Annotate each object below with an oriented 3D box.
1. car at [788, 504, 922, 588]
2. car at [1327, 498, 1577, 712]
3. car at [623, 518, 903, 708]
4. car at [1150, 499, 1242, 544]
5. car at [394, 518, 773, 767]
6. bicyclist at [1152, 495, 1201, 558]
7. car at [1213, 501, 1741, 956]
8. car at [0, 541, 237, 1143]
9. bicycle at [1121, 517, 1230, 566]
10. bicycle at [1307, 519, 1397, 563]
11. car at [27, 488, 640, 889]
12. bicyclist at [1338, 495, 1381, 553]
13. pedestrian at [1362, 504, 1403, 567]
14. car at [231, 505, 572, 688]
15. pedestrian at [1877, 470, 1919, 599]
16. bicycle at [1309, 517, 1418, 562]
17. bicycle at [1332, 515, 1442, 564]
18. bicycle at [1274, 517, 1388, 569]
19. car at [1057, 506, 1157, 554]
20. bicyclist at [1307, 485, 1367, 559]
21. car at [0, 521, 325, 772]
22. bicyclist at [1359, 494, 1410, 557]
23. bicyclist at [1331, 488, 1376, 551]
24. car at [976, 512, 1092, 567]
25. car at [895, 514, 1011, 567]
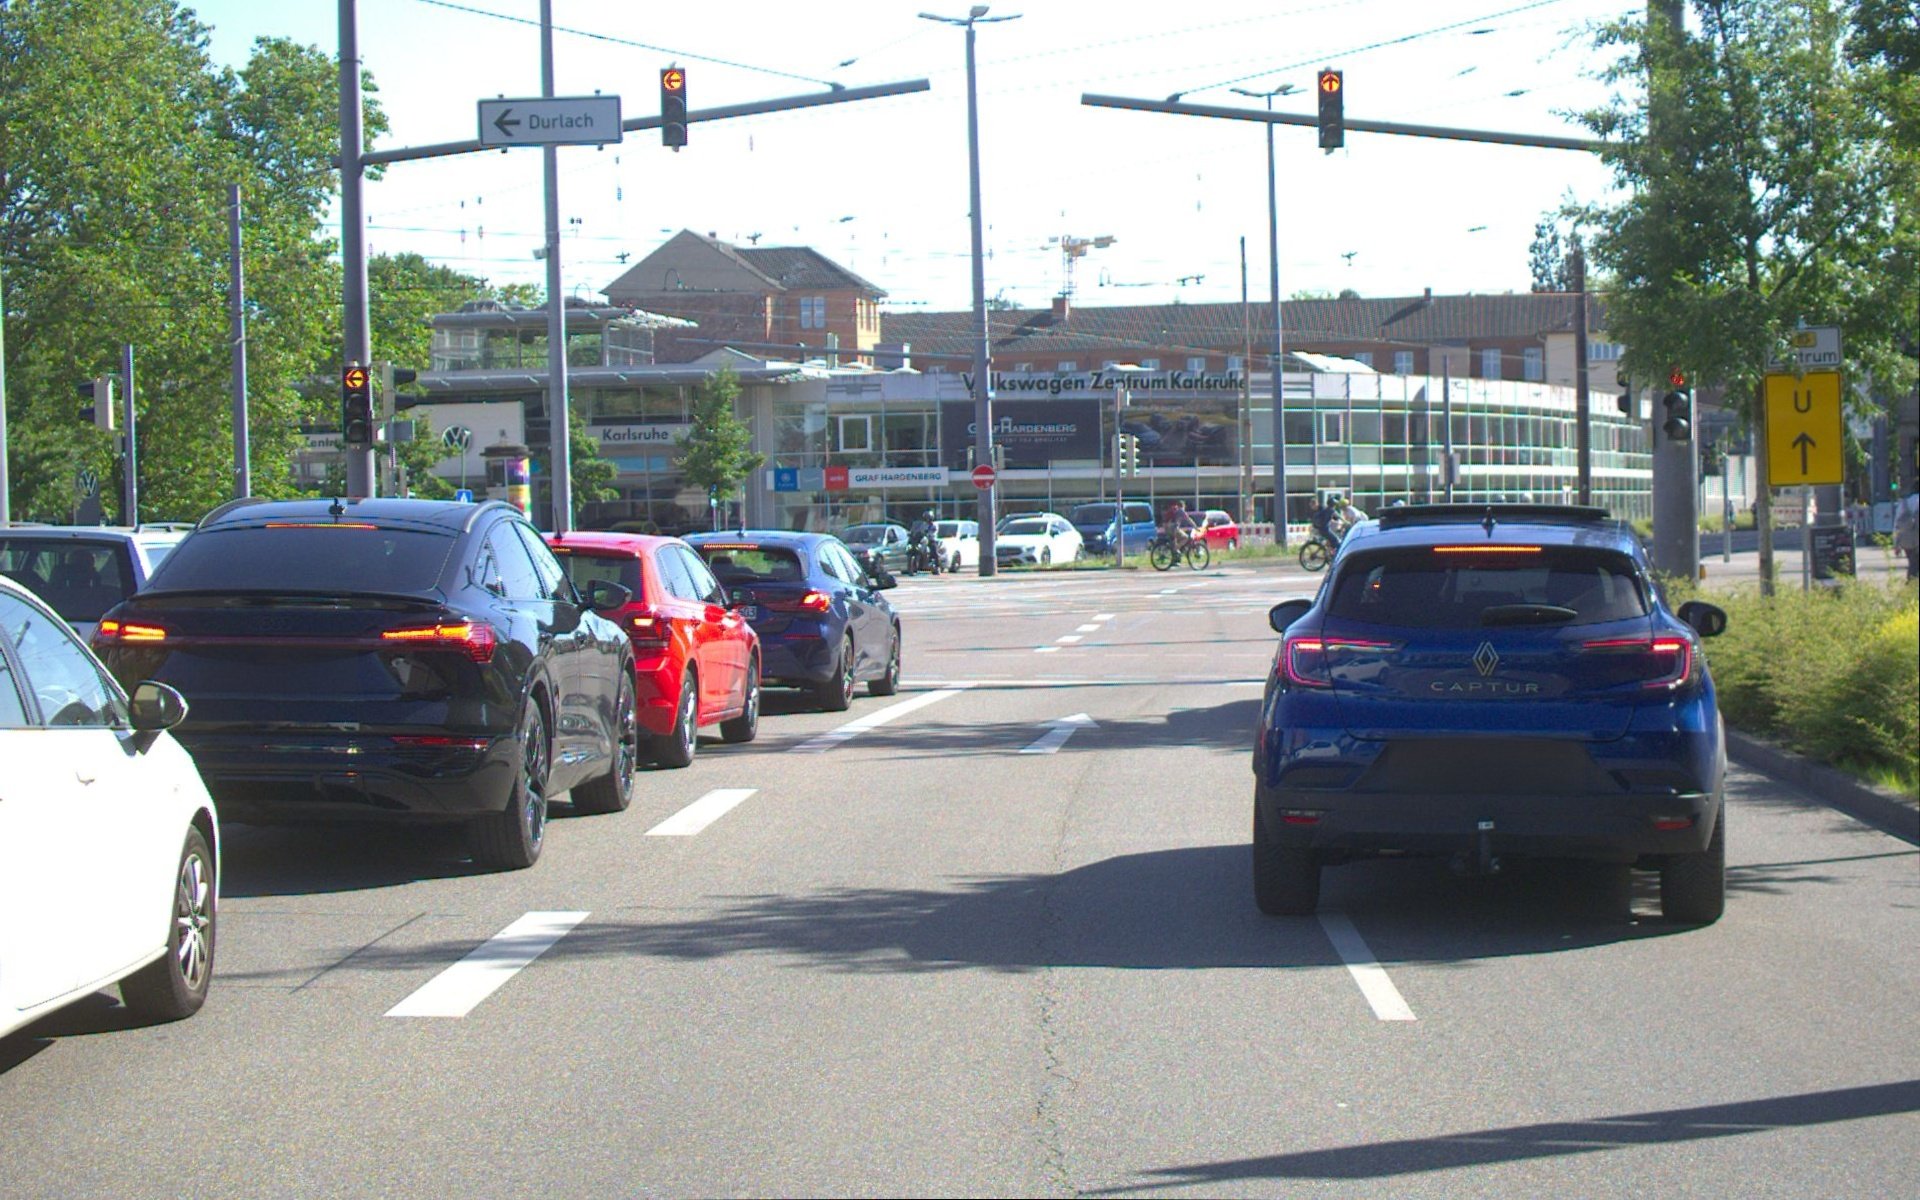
[{"bbox_3d":[-2.742,-1.454,90.767,1.996,2.006,3.996,1,4,24],"label":"car"},{"bbox_3d":[4.008,0.000,28.146,1.877,1.612,3.624,1,1,8],"label":"car"},{"bbox_3d":[-1.577,0.054,28.789,1.725,1.437,3.798,1,2,6],"label":"car"},{"bbox_3d":[7.927,-2.616,115.166,1.727,1.437,4.179,2,2,24],"label":"car"},{"bbox_3d":[-2.347,0.205,22.330,1.672,1.437,3.721,1,2,6],"label":"car"},{"bbox_3d":[5.581,-1.892,88.622,1.062,1.578,0.948,-1,3,-12],"label":"bicyclist"},{"bbox_3d":[2.211,0.407,14.402,1.877,1.612,3.796,1,2,10],"label":"car"},{"bbox_3d":[-3.158,0.568,9.131,1.691,1.431,3.737,1,1,0],"label":"car"},{"bbox_3d":[5.546,-1.524,88.634,2.645,1.184,0.948,-1,4,-12],"label":"bicycle"},{"bbox_3d":[10.000,-1.501,87.761,2.178,1.091,0.759,-1,1,-6],"label":"bicycle"},{"bbox_3d":[-2.768,0.309,16.233,1.984,1.618,4.378,0,1,2],"label":"car"},{"bbox_3d":[10.073,-1.918,86.639,0.962,1.444,0.969,-1,1,0],"label":"bicyclist"},{"bbox_3d":[11.216,-1.715,91.231,0.849,1.605,0.703,-3,4,-40],"label":"pedestrian"},{"bbox_3d":[-4.755,-0.077,29.806,1.726,1.437,3.908,2,2,9],"label":"car"},{"bbox_3d":[12.899,-0.875,46.541,0.595,1.717,0.868,-1,-1,43],"label":"pedestrian"},{"bbox_3d":[10.164,-1.527,86.650,2.643,1.091,0.969,-1,1,0],"label":"bicycle"},{"bbox_3d":[11.032,-1.561,88.877,2.645,1.184,0.948,-1,4,-12],"label":"bicycle"},{"bbox_3d":[9.179,-1.411,84.994,2.645,1.184,0.948,-2,4,-19],"label":"bicycle"},{"bbox_3d":[4.647,-2.208,108.264,1.727,1.437,4.179,2,2,24],"label":"car"},{"bbox_3d":[9.321,-1.929,85.028,1.183,1.770,0.948,-1,4,-19],"label":"bicyclist"},{"bbox_3d":[-5.392,0.226,21.950,1.725,1.437,3.798,0,1,4],"label":"car"},{"bbox_3d":[10.967,-1.941,88.842,1.062,1.578,0.948,-1,3,-12],"label":"bicyclist"},{"bbox_3d":[10.032,-2.061,87.755,0.985,1.598,0.759,-1,1,-6],"label":"bicyclist"},{"bbox_3d":[2.053,-1.665,94.260,1.727,1.437,4.179,0,1,24],"label":"car"},{"bbox_3d":[-0.163,-1.698,97.086,1.727,1.437,4.179,0,1,24],"label":"car"}]
